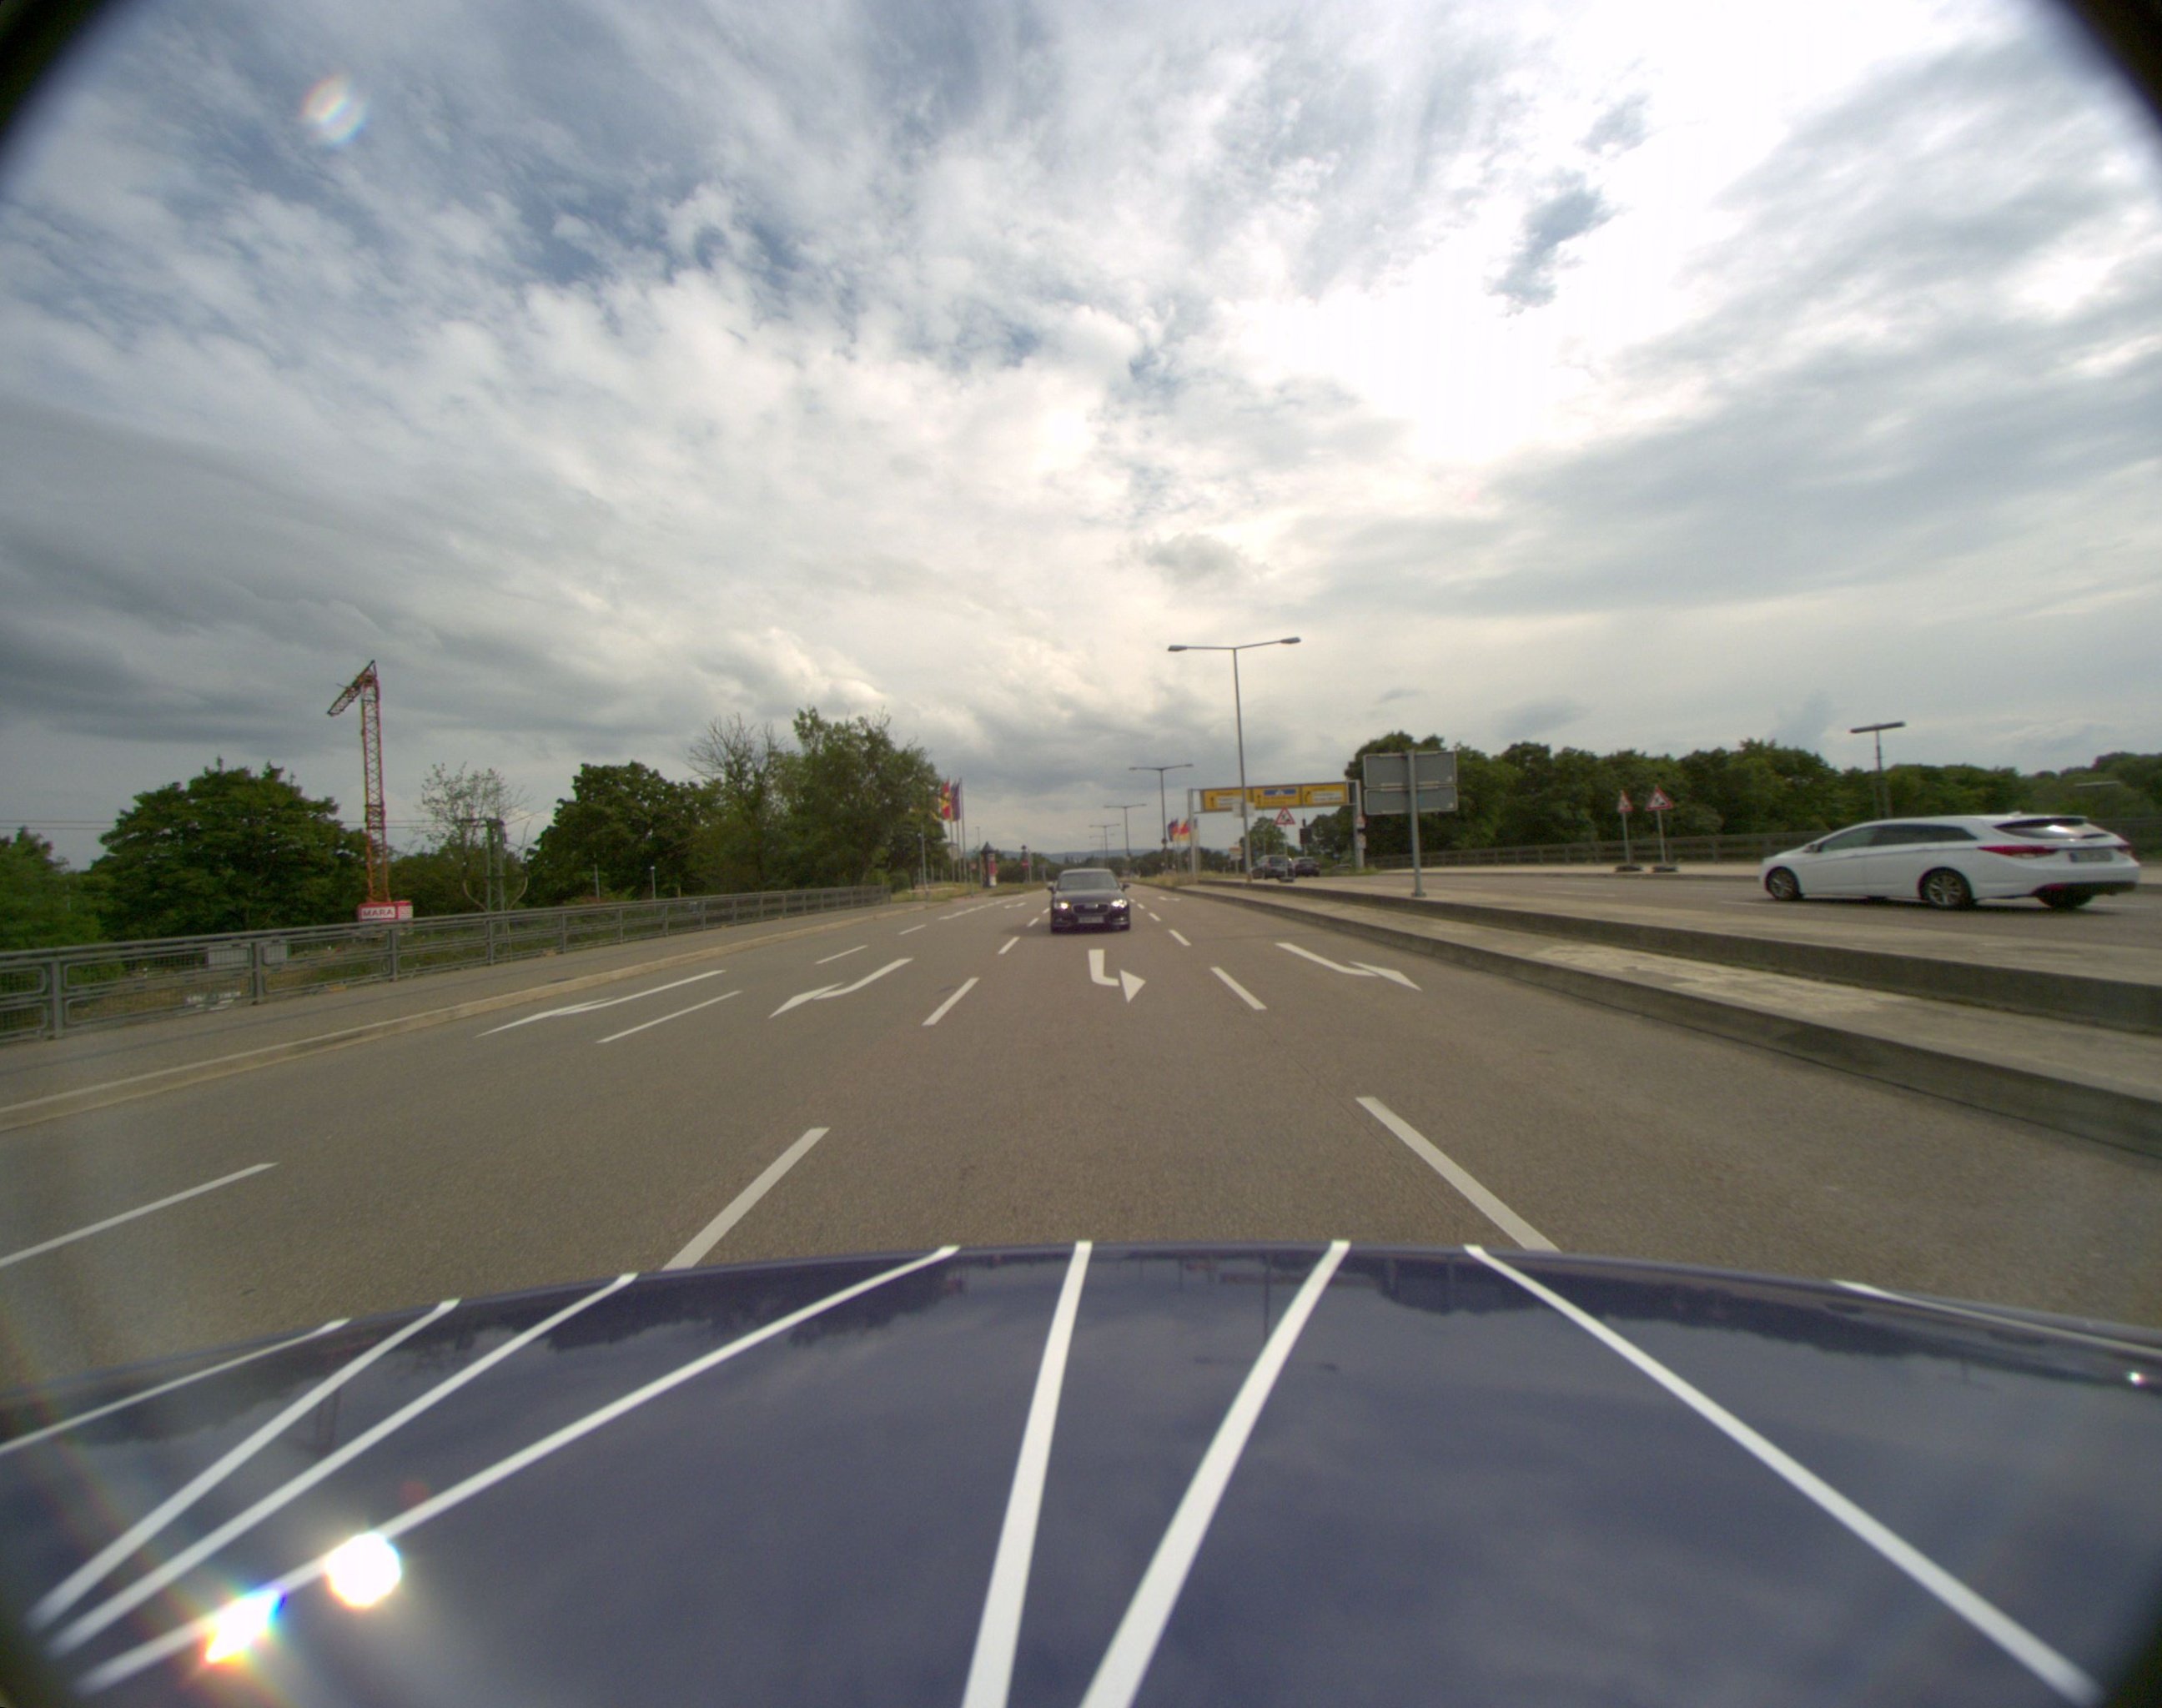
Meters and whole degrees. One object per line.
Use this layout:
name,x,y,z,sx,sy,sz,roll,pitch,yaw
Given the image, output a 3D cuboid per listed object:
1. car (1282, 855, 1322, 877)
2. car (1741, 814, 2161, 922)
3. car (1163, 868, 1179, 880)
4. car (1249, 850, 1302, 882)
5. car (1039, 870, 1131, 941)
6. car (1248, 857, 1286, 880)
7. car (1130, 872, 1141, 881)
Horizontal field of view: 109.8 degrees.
car,17.707,0.932,61.102,1.892,1.630,4.546,-3,-1,0
car,14.051,0.211,12.690,1.923,1.407,4.882,-2,-1,2
car,12.699,2.822,107.448,1.727,1.523,3.917,-3,-1,-2
car,11.266,0.687,44.328,1.891,1.630,4.585,-3,-1,1
car,0.096,1.125,18.226,1.852,1.355,4.730,-3,-1,0
car,14.373,1.076,58.960,1.892,1.630,4.218,-3,-1,0
car,11.375,4.735,159.190,1.776,1.597,3.878,-3,-2,-1
